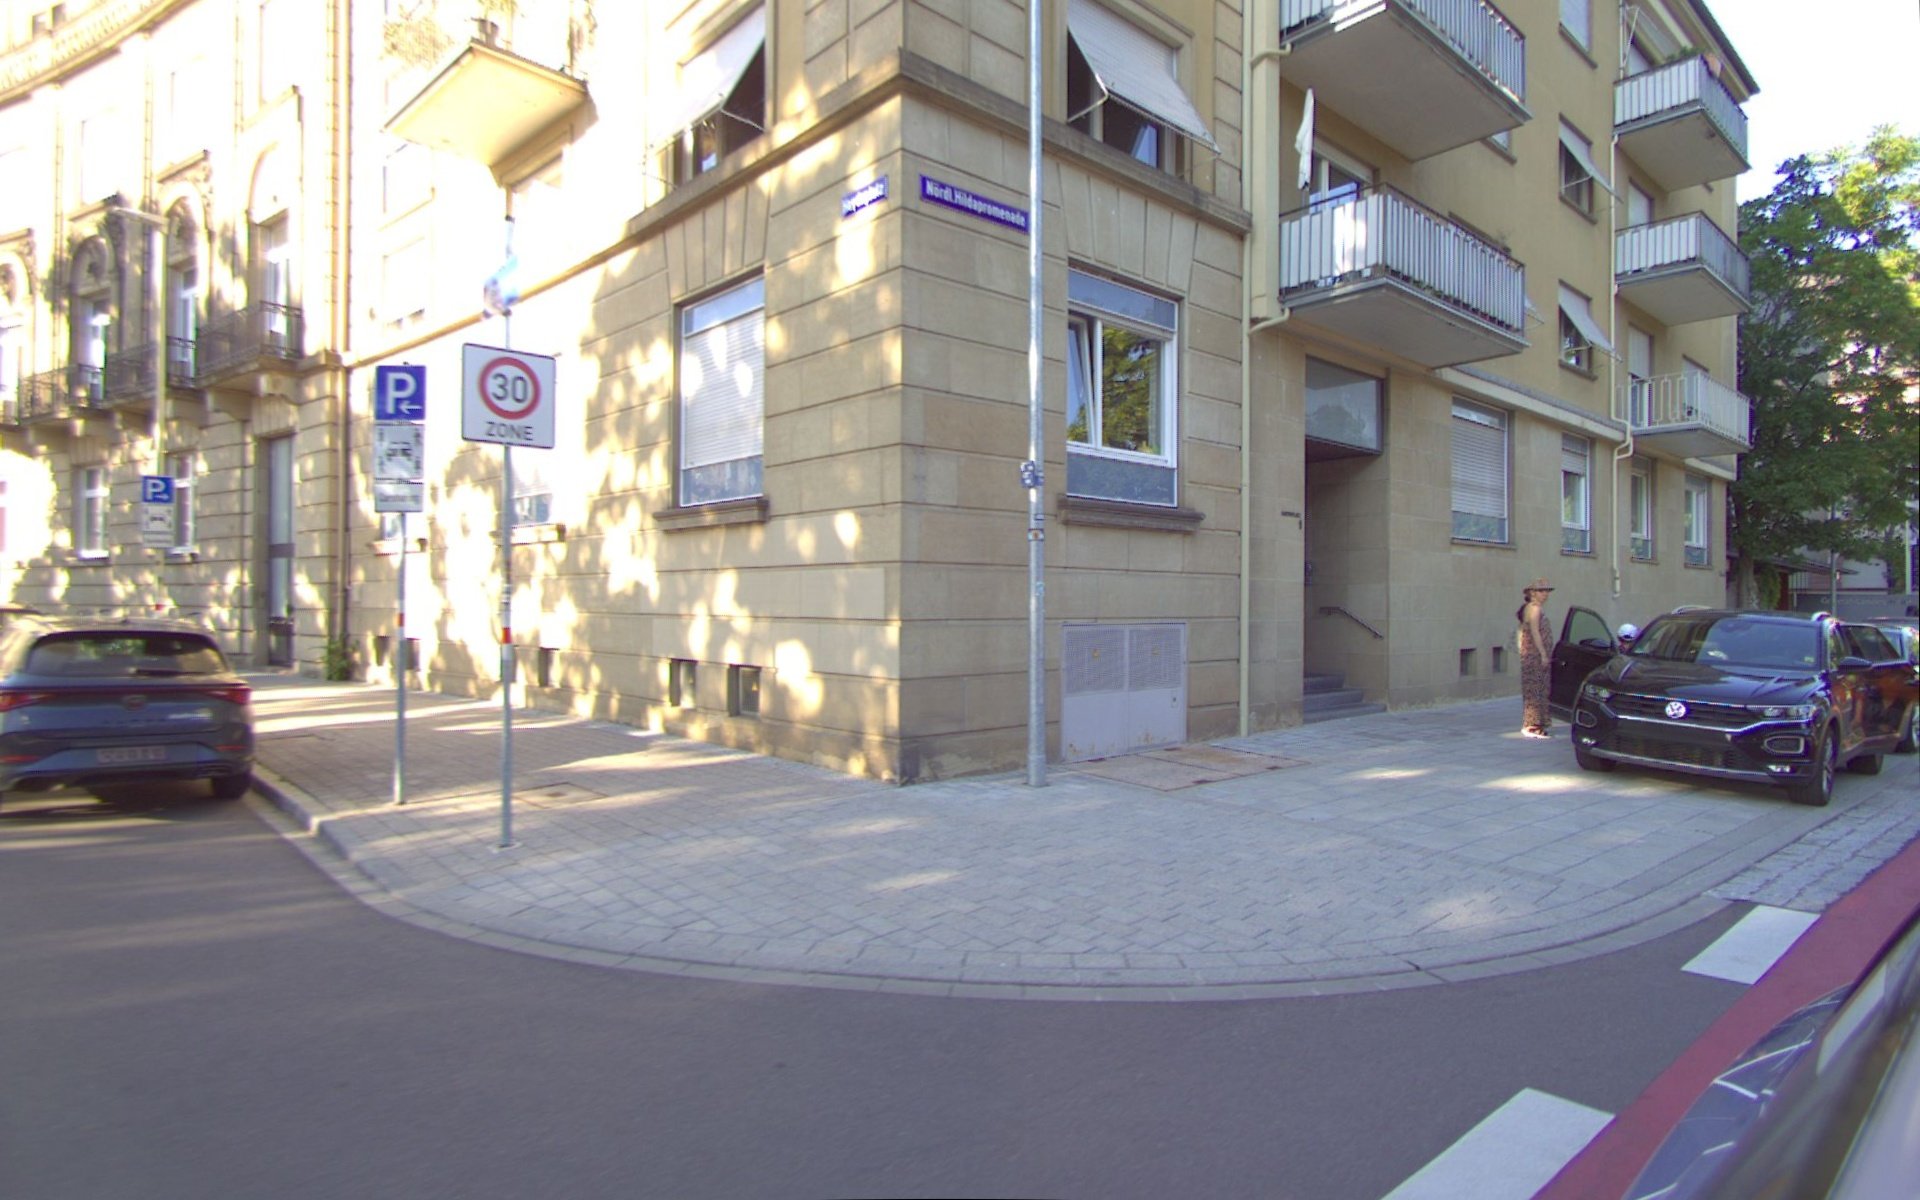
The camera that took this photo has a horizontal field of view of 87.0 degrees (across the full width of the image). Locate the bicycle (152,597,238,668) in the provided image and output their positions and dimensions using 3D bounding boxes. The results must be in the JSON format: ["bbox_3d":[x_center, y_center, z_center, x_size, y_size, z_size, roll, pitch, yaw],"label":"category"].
[{"bbox_3d":[-15.076,0.615,19.924,2.240,1.327,0.607,0,0,32],"label":"bicycle"}]

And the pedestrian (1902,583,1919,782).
[{"bbox_3d":[9.189,0.739,9.201,0.938,1.792,0.777,1,-1,-40],"label":"pedestrian"}]

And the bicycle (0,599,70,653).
[{"bbox_3d":[-22.359,0.603,24.376,2.102,1.245,0.609,0,0,26],"label":"bicycle"}]

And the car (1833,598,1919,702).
[{"bbox_3d":[15.475,0.745,16.233,3.967,1.437,1.706,-1,3,-42],"label":"car"}]

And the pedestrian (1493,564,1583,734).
[{"bbox_3d":[6.514,0.539,11.439,0.721,1.854,0.554,-1,-1,14],"label":"pedestrian"}]

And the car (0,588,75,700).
[{"bbox_3d":[-15.785,0.626,15.799,4.419,1.620,1.782,0,1,32],"label":"car"}]

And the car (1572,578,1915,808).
[{"bbox_3d":[7.484,0.700,9.507,4.272,1.646,1.706,1,2,-41],"label":"car"}]

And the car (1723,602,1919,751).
[{"bbox_3d":[11.199,0.804,12.557,4.269,1.437,1.708,-1,3,-38],"label":"car"}]

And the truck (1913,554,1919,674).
[{"bbox_3d":[23.935,0.278,23.195,6.752,2.596,2.133,-1,1,-39],"label":"truck"}]

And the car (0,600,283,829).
[{"bbox_3d":[-7.421,0.752,8.629,4.440,1.436,1.905,1,1,45],"label":"car"}]
